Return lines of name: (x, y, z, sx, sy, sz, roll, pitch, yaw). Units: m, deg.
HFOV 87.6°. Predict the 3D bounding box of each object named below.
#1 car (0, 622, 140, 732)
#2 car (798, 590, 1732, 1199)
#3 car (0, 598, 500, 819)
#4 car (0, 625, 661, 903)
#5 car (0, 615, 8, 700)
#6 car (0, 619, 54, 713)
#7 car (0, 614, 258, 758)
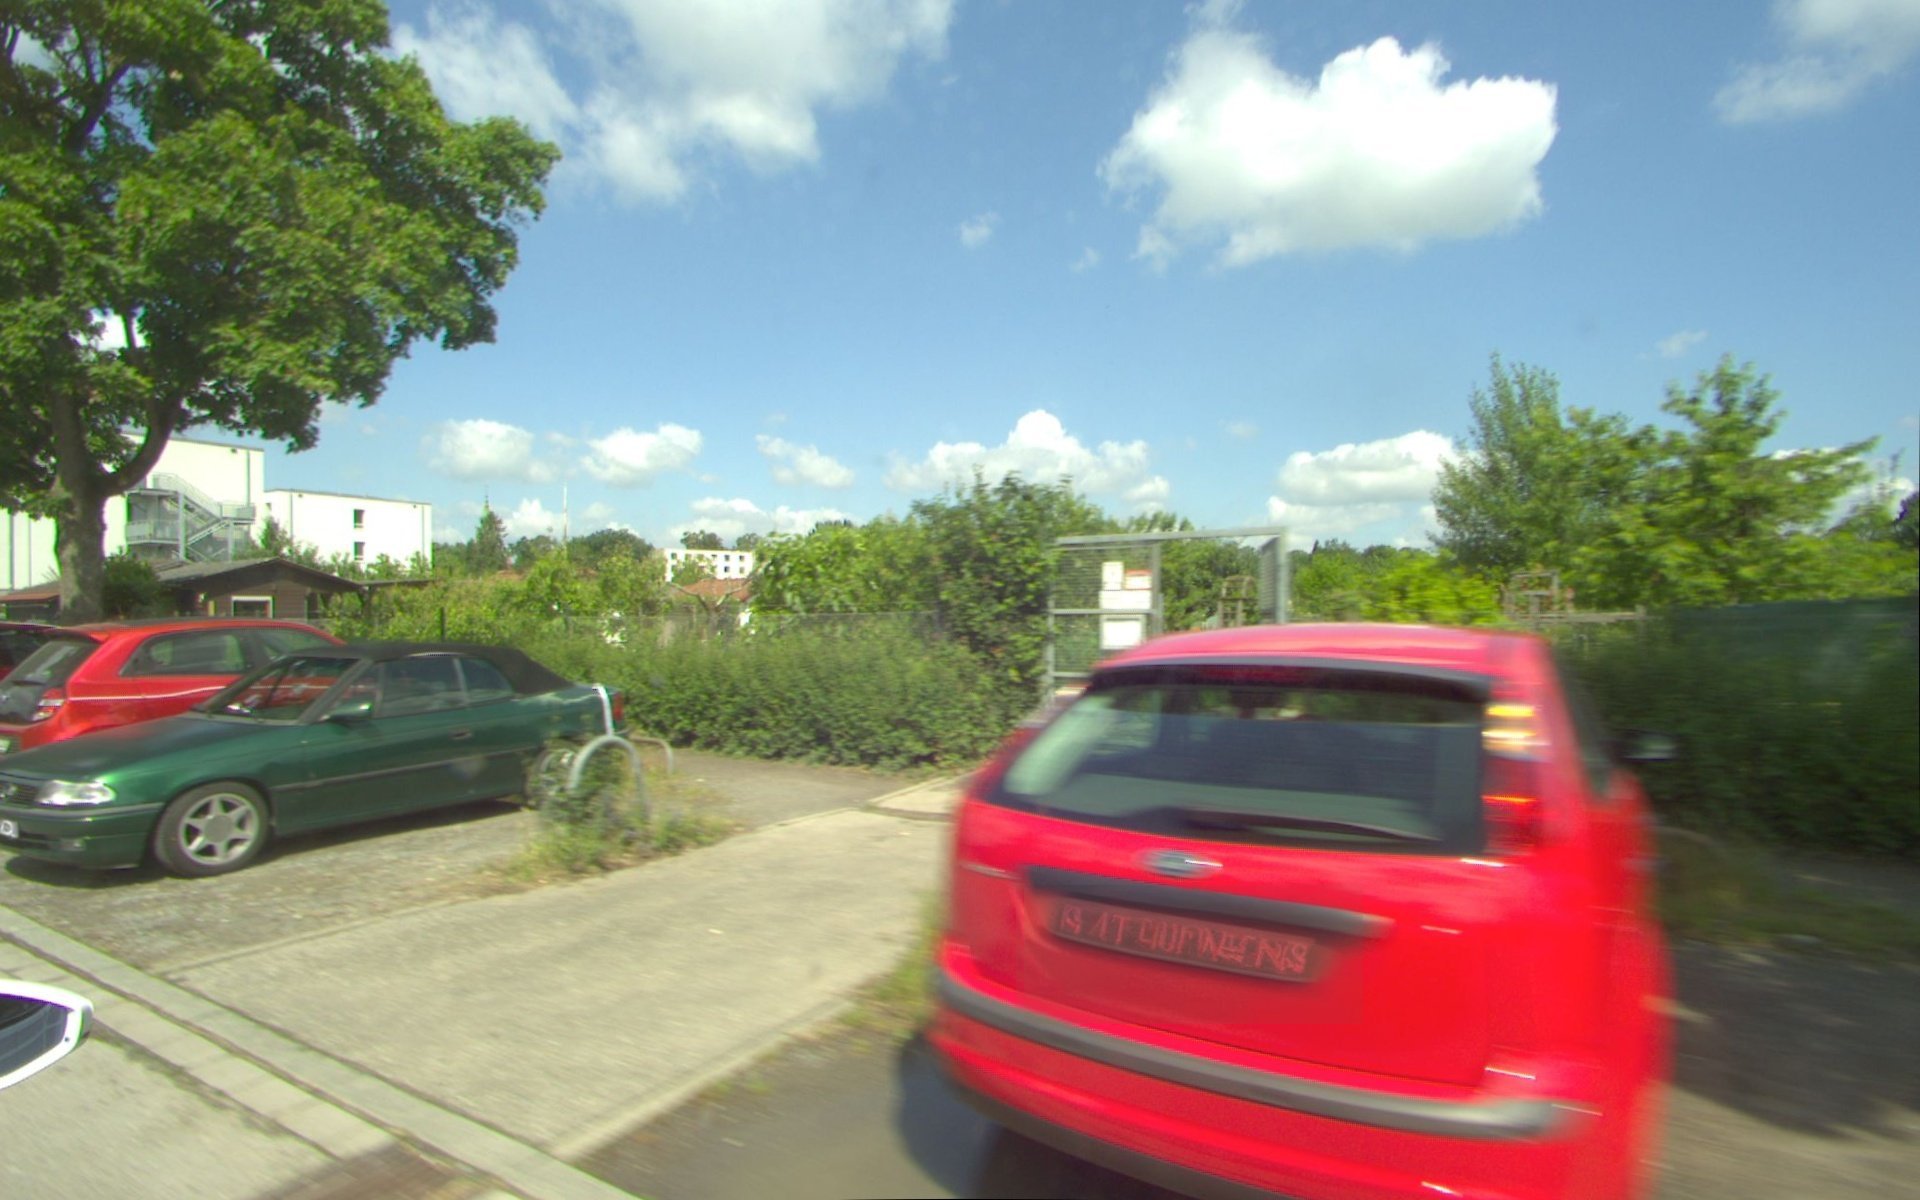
car: (-13.708, 1.013, 13.374, 1.931, 1.441, 3.901, -1, -3, 35)
car: (1.502, 0.843, 3.748, 1.852, 1.523, 4.176, -1, -3, 33)
car: (-6.568, 0.870, 9.335, 1.842, 1.593, 3.759, -1, -2, 31)
car: (-4.509, 0.953, 7.562, 1.879, 1.446, 4.237, -1, -2, 28)
car: (-19.257, 0.984, 17.094, 1.931, 1.530, 4.055, -1, -3, 35)
car: (-16.449, 0.989, 14.879, 1.842, 1.473, 4.062, -1, -3, 30)
car: (-10.757, 0.950, 11.560, 1.830, 1.539, 3.977, -1, -3, 35)
